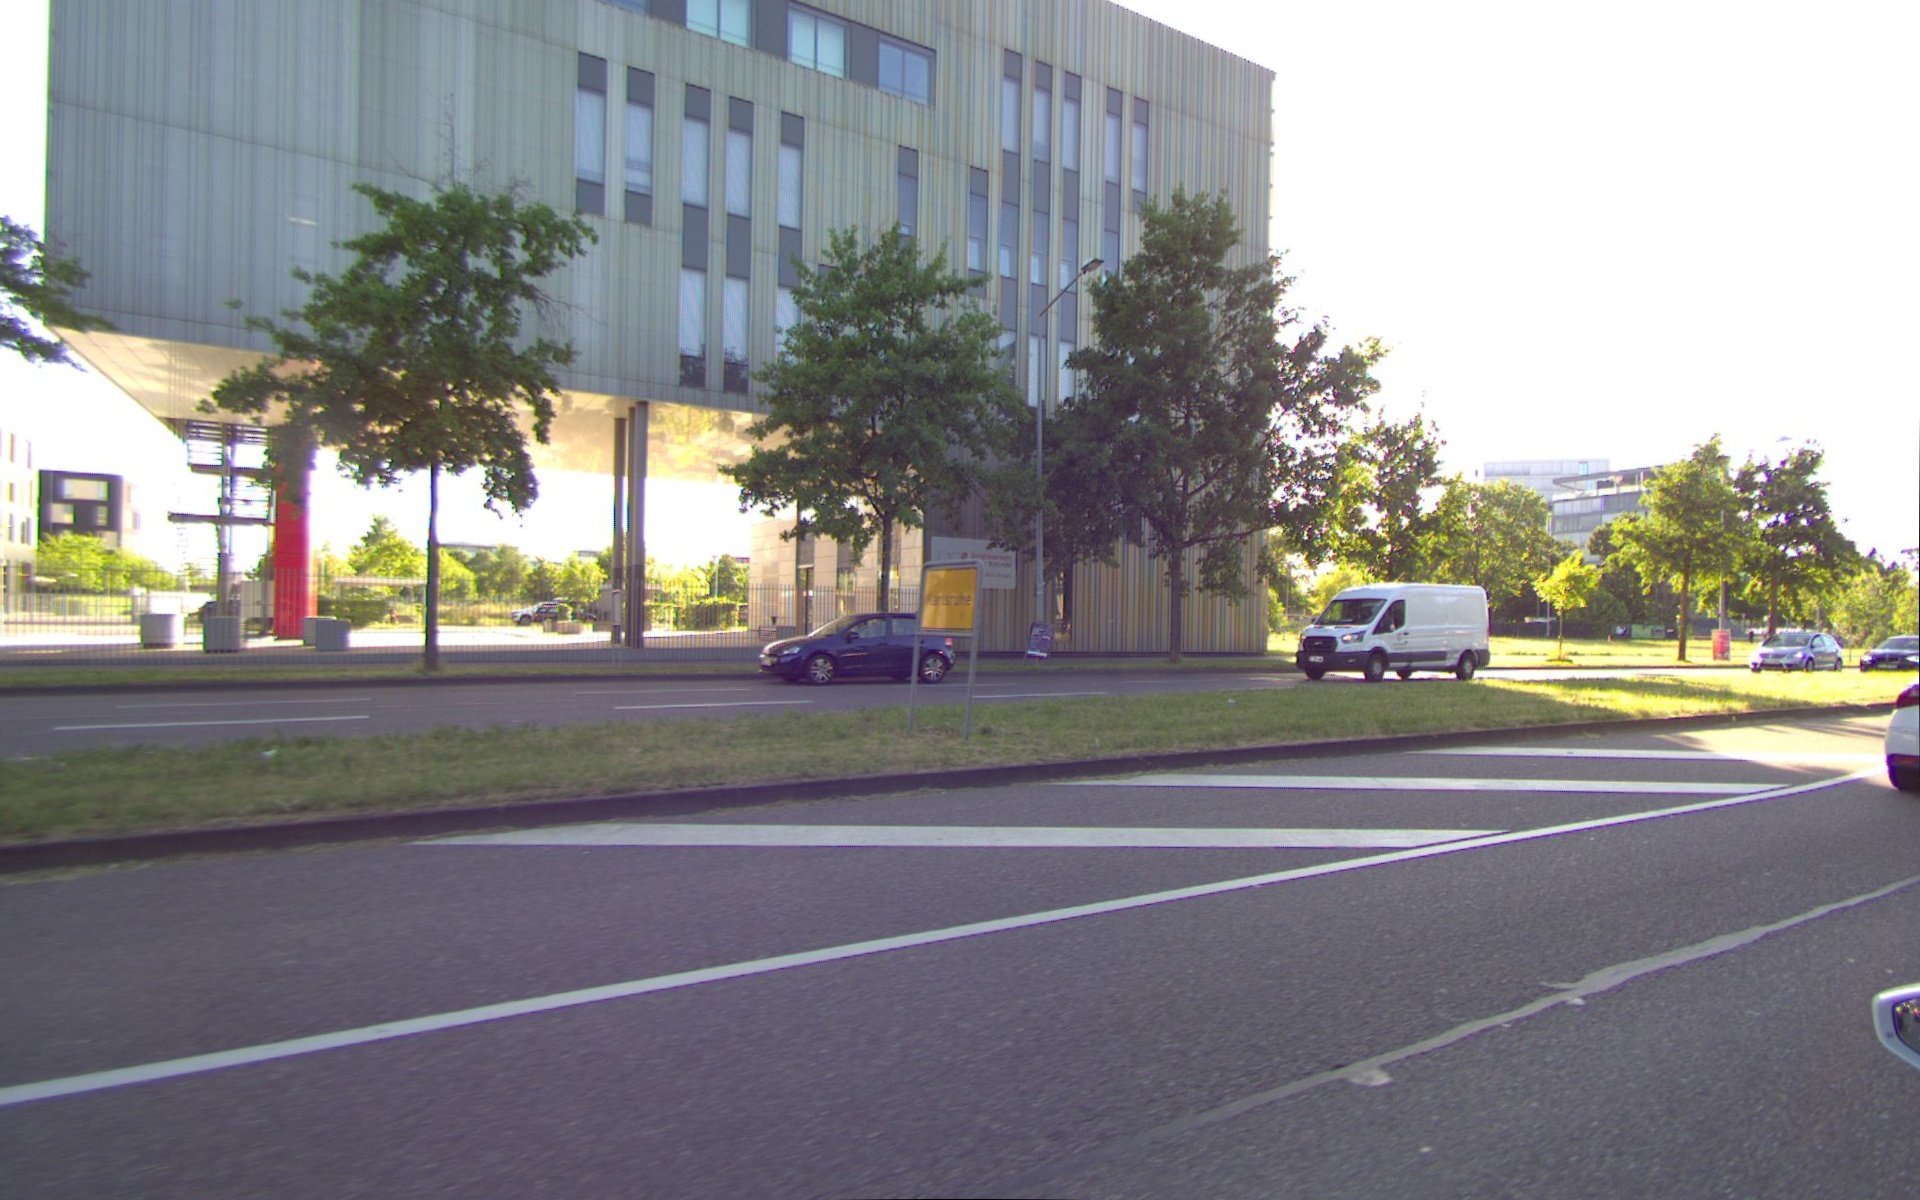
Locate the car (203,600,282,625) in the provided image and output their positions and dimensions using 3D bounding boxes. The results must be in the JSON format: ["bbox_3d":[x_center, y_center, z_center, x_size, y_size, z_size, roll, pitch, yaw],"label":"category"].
[{"bbox_3d":[-38.600,0.674,54.142,3.346,1.275,1.355,1,0,-32],"label":"car"}]

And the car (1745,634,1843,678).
[{"bbox_3d":[31.003,2.053,37.315,4.006,1.496,1.679,2,-1,-33],"label":"car"}]

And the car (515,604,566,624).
[{"bbox_3d":[-31.701,1.065,75.944,3.406,1.401,1.422,2,-1,-33],"label":"car"}]

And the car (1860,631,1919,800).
[{"bbox_3d":[10.158,1.038,9.180,4.028,1.428,1.769,1,0,-31],"label":"car"}]

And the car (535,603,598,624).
[{"bbox_3d":[-24.000,0.835,61.275,3.402,1.233,1.423,2,-1,-30],"label":"car"}]

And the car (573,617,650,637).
[{"bbox_3d":[-17.295,1.325,49.878,3.402,0.926,1.423,2,-1,-30],"label":"car"}]

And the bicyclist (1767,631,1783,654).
[{"bbox_3d":[50.641,2.638,62.418,0.835,1.413,0.479,2,-1,-32],"label":"bicyclist"}]

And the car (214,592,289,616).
[{"bbox_3d":[-39.616,0.233,56.235,3.346,1.275,1.355,1,0,-32],"label":"car"}]

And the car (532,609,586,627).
[{"bbox_3d":[-28.660,1.292,71.861,3.402,1.233,1.423,2,-1,-30],"label":"car"}]

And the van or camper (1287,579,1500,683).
[{"bbox_3d":[11.184,0.806,25.732,5.925,2.400,1.983,1,-2,-31],"label":"van or camper"}]

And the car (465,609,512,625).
[{"bbox_3d":[-39.584,1.429,84.292,3.406,1.209,1.358,2,-1,-33],"label":"car"}]

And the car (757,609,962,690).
[{"bbox_3d":[-2.050,0.989,20.893,3.982,1.528,1.542,1,0,-32],"label":"car"}]

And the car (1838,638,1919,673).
[{"bbox_3d":[32.857,1.938,35.395,4.129,1.126,1.817,2,-1,-33],"label":"car"}]
